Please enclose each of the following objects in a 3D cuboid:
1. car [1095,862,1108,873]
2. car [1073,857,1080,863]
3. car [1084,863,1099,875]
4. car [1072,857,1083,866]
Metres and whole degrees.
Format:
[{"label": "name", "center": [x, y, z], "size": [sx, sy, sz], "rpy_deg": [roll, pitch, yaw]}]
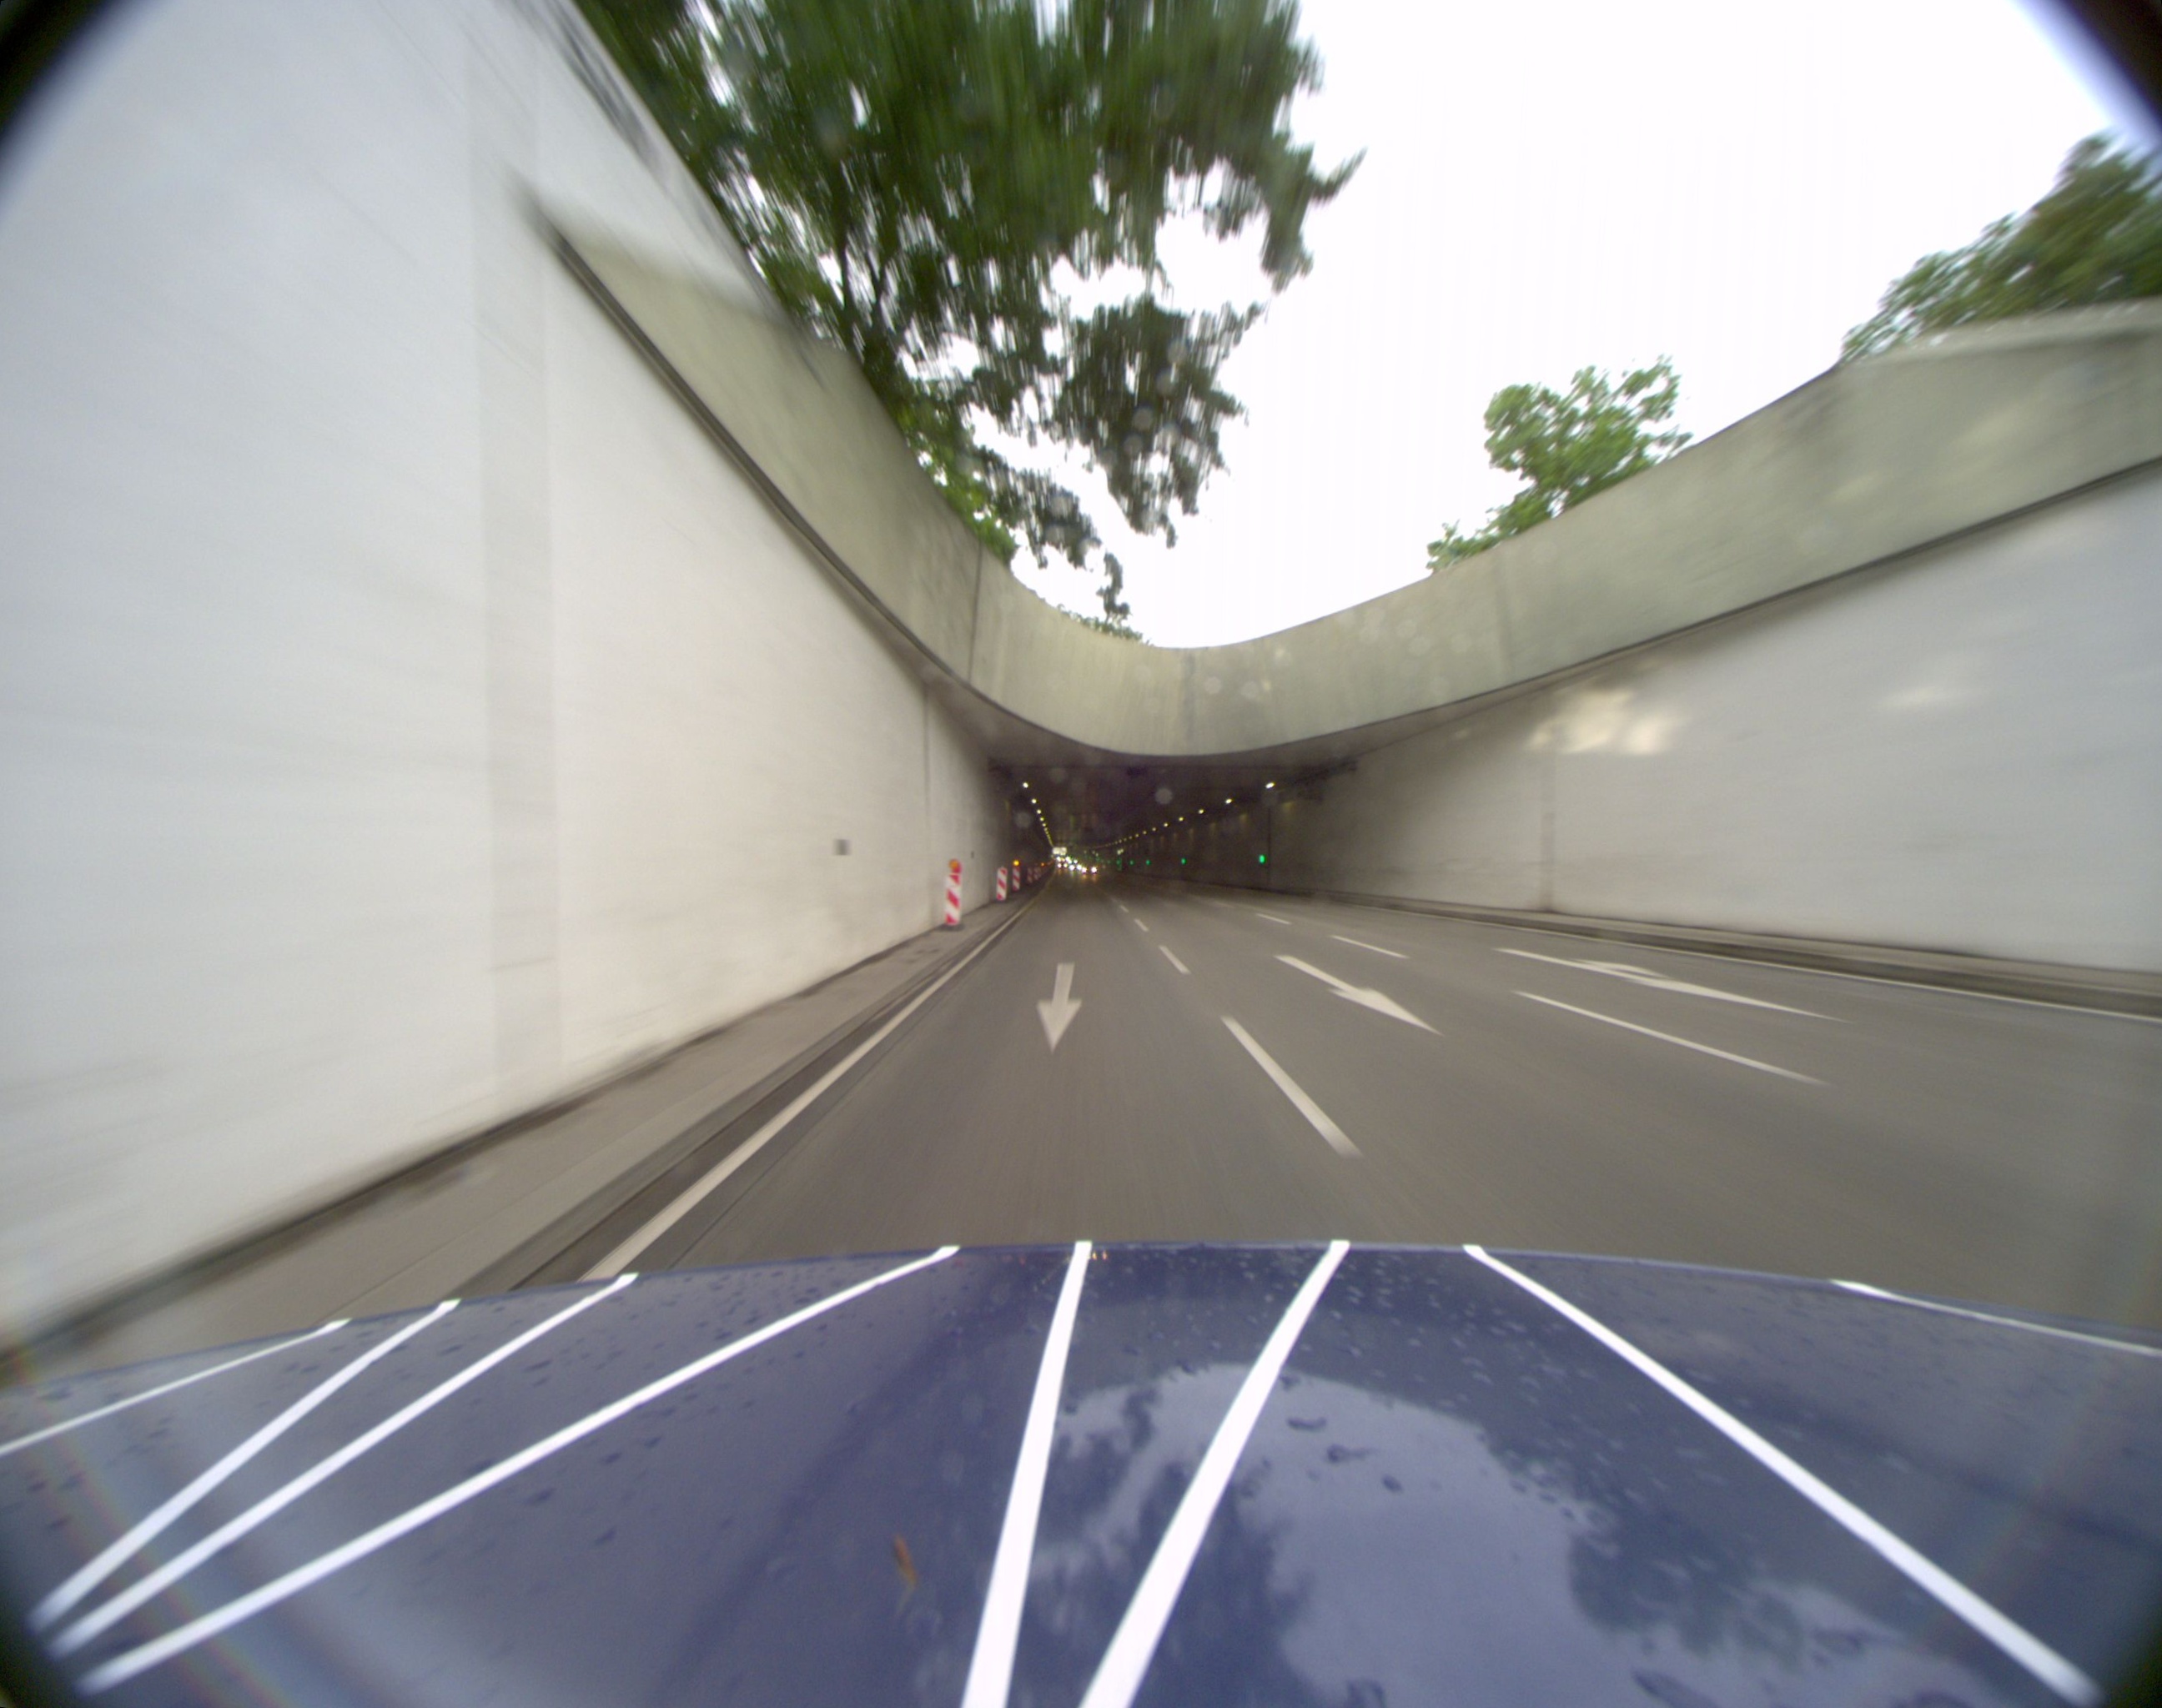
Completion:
[{"label": "car", "center": [3.432, 2.251, 129.402], "size": [1.999, 1.685, 4.000], "rpy_deg": [3, -1, -1]}, {"label": "car", "center": [-1.374, 1.676, 222.807], "size": [1.999, 1.756, 3.999], "rpy_deg": [-1, 1, -1]}, {"label": "car", "center": [1.424, 2.067, 106.821], "size": [1.999, 1.685, 3.999], "rpy_deg": [0, 0, -1]}, {"label": "car", "center": [-0.686, 1.521, 148.678], "size": [1.999, 1.685, 3.999], "rpy_deg": [0, 0, -1]}]
